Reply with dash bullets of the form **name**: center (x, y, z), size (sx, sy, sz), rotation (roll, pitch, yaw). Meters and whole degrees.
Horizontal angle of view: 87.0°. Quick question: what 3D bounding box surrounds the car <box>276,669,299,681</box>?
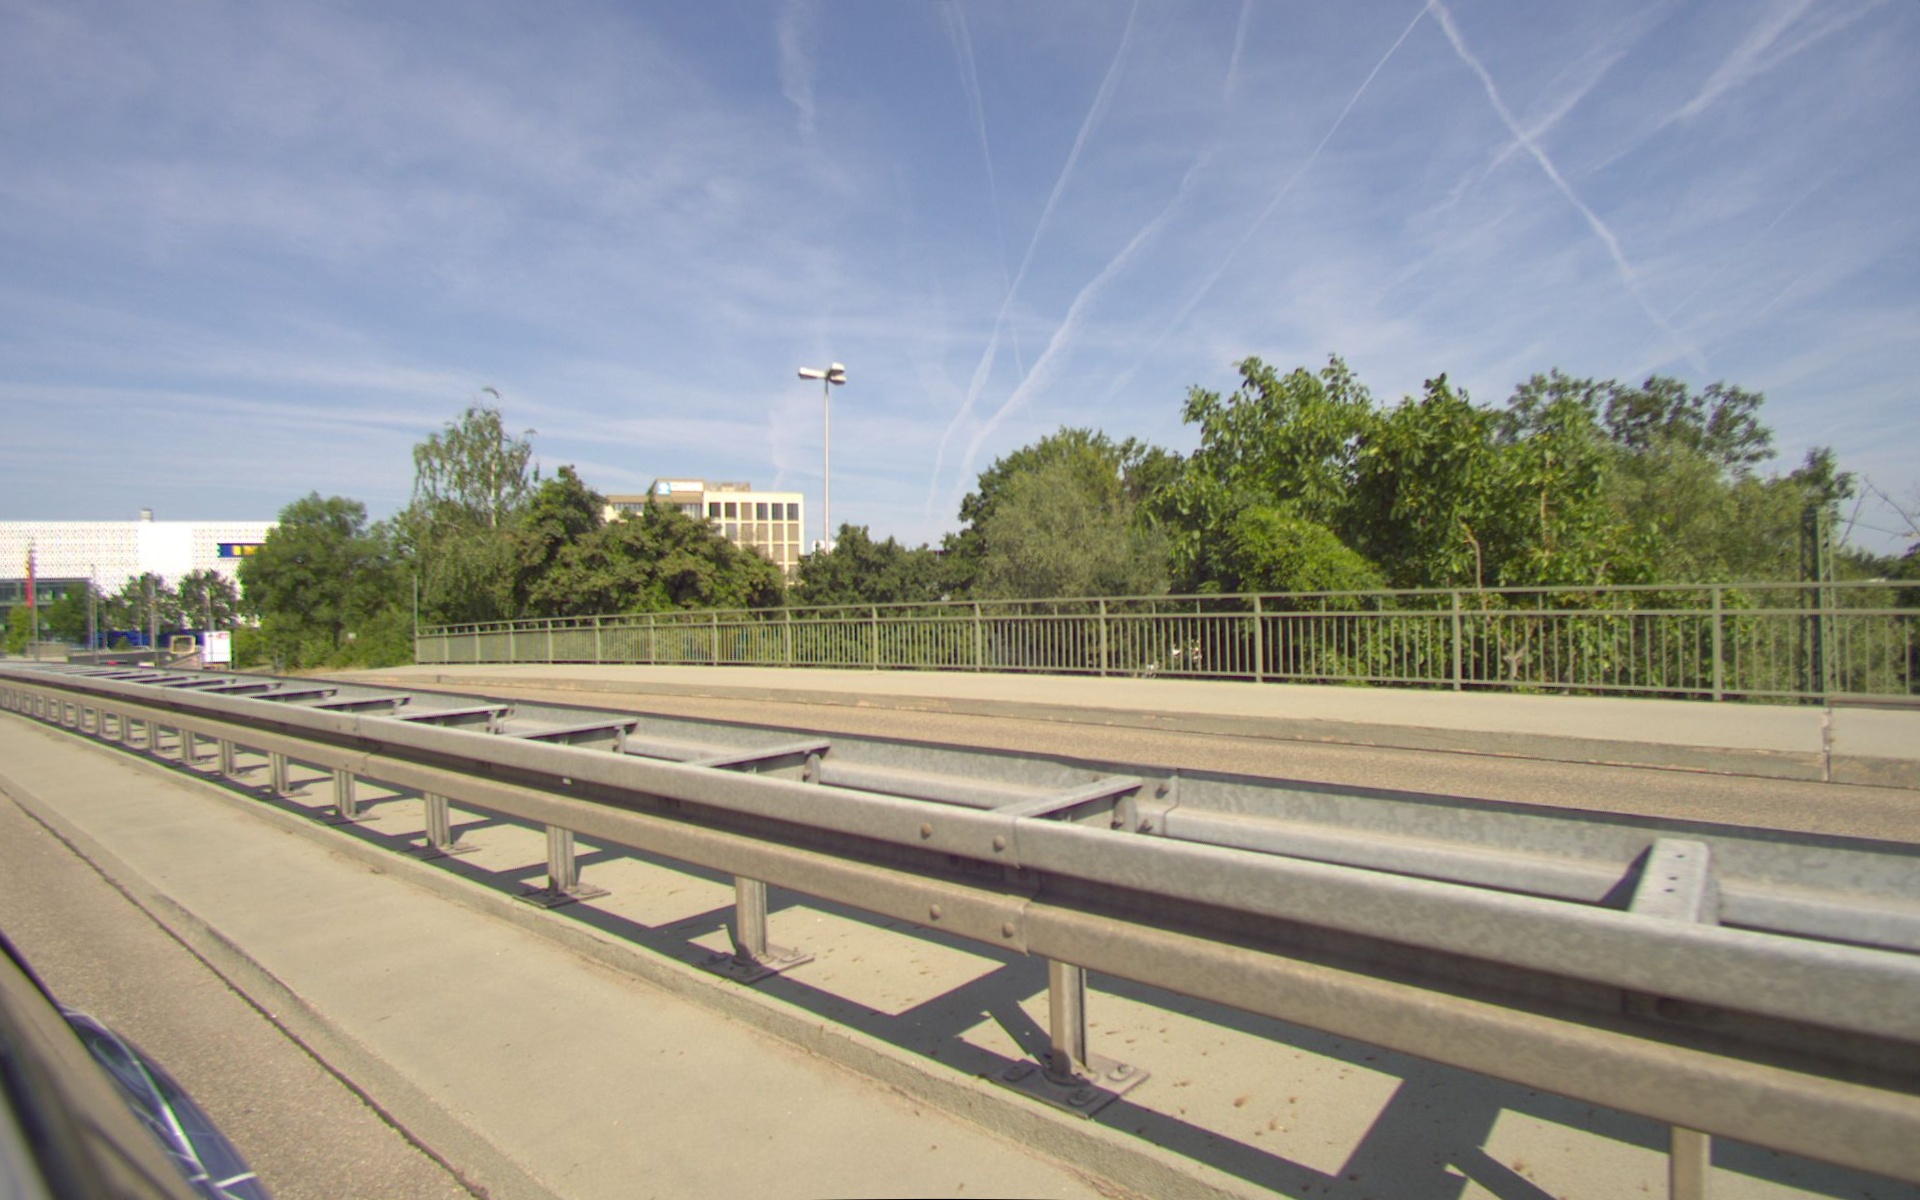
- **car**: center (-98.035, 10.919, 147.616), size (1.795, 1.485, 4.013), rotation (-1, -1, -19)

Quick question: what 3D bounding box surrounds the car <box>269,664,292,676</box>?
- **car**: center (-103.661, 10.684, 154.425), size (1.796, 1.485, 4.012), rotation (-1, -1, -17)

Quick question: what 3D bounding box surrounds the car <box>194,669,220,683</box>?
- **car**: center (-95.932, 9.698, 128.963), size (1.795, 1.485, 4.013), rotation (-1, -1, -24)

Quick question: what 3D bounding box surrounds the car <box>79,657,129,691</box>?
- **car**: center (-44.029, 3.820, 52.123), size (1.858, 1.648, 4.232), rotation (1, -4, -39)
